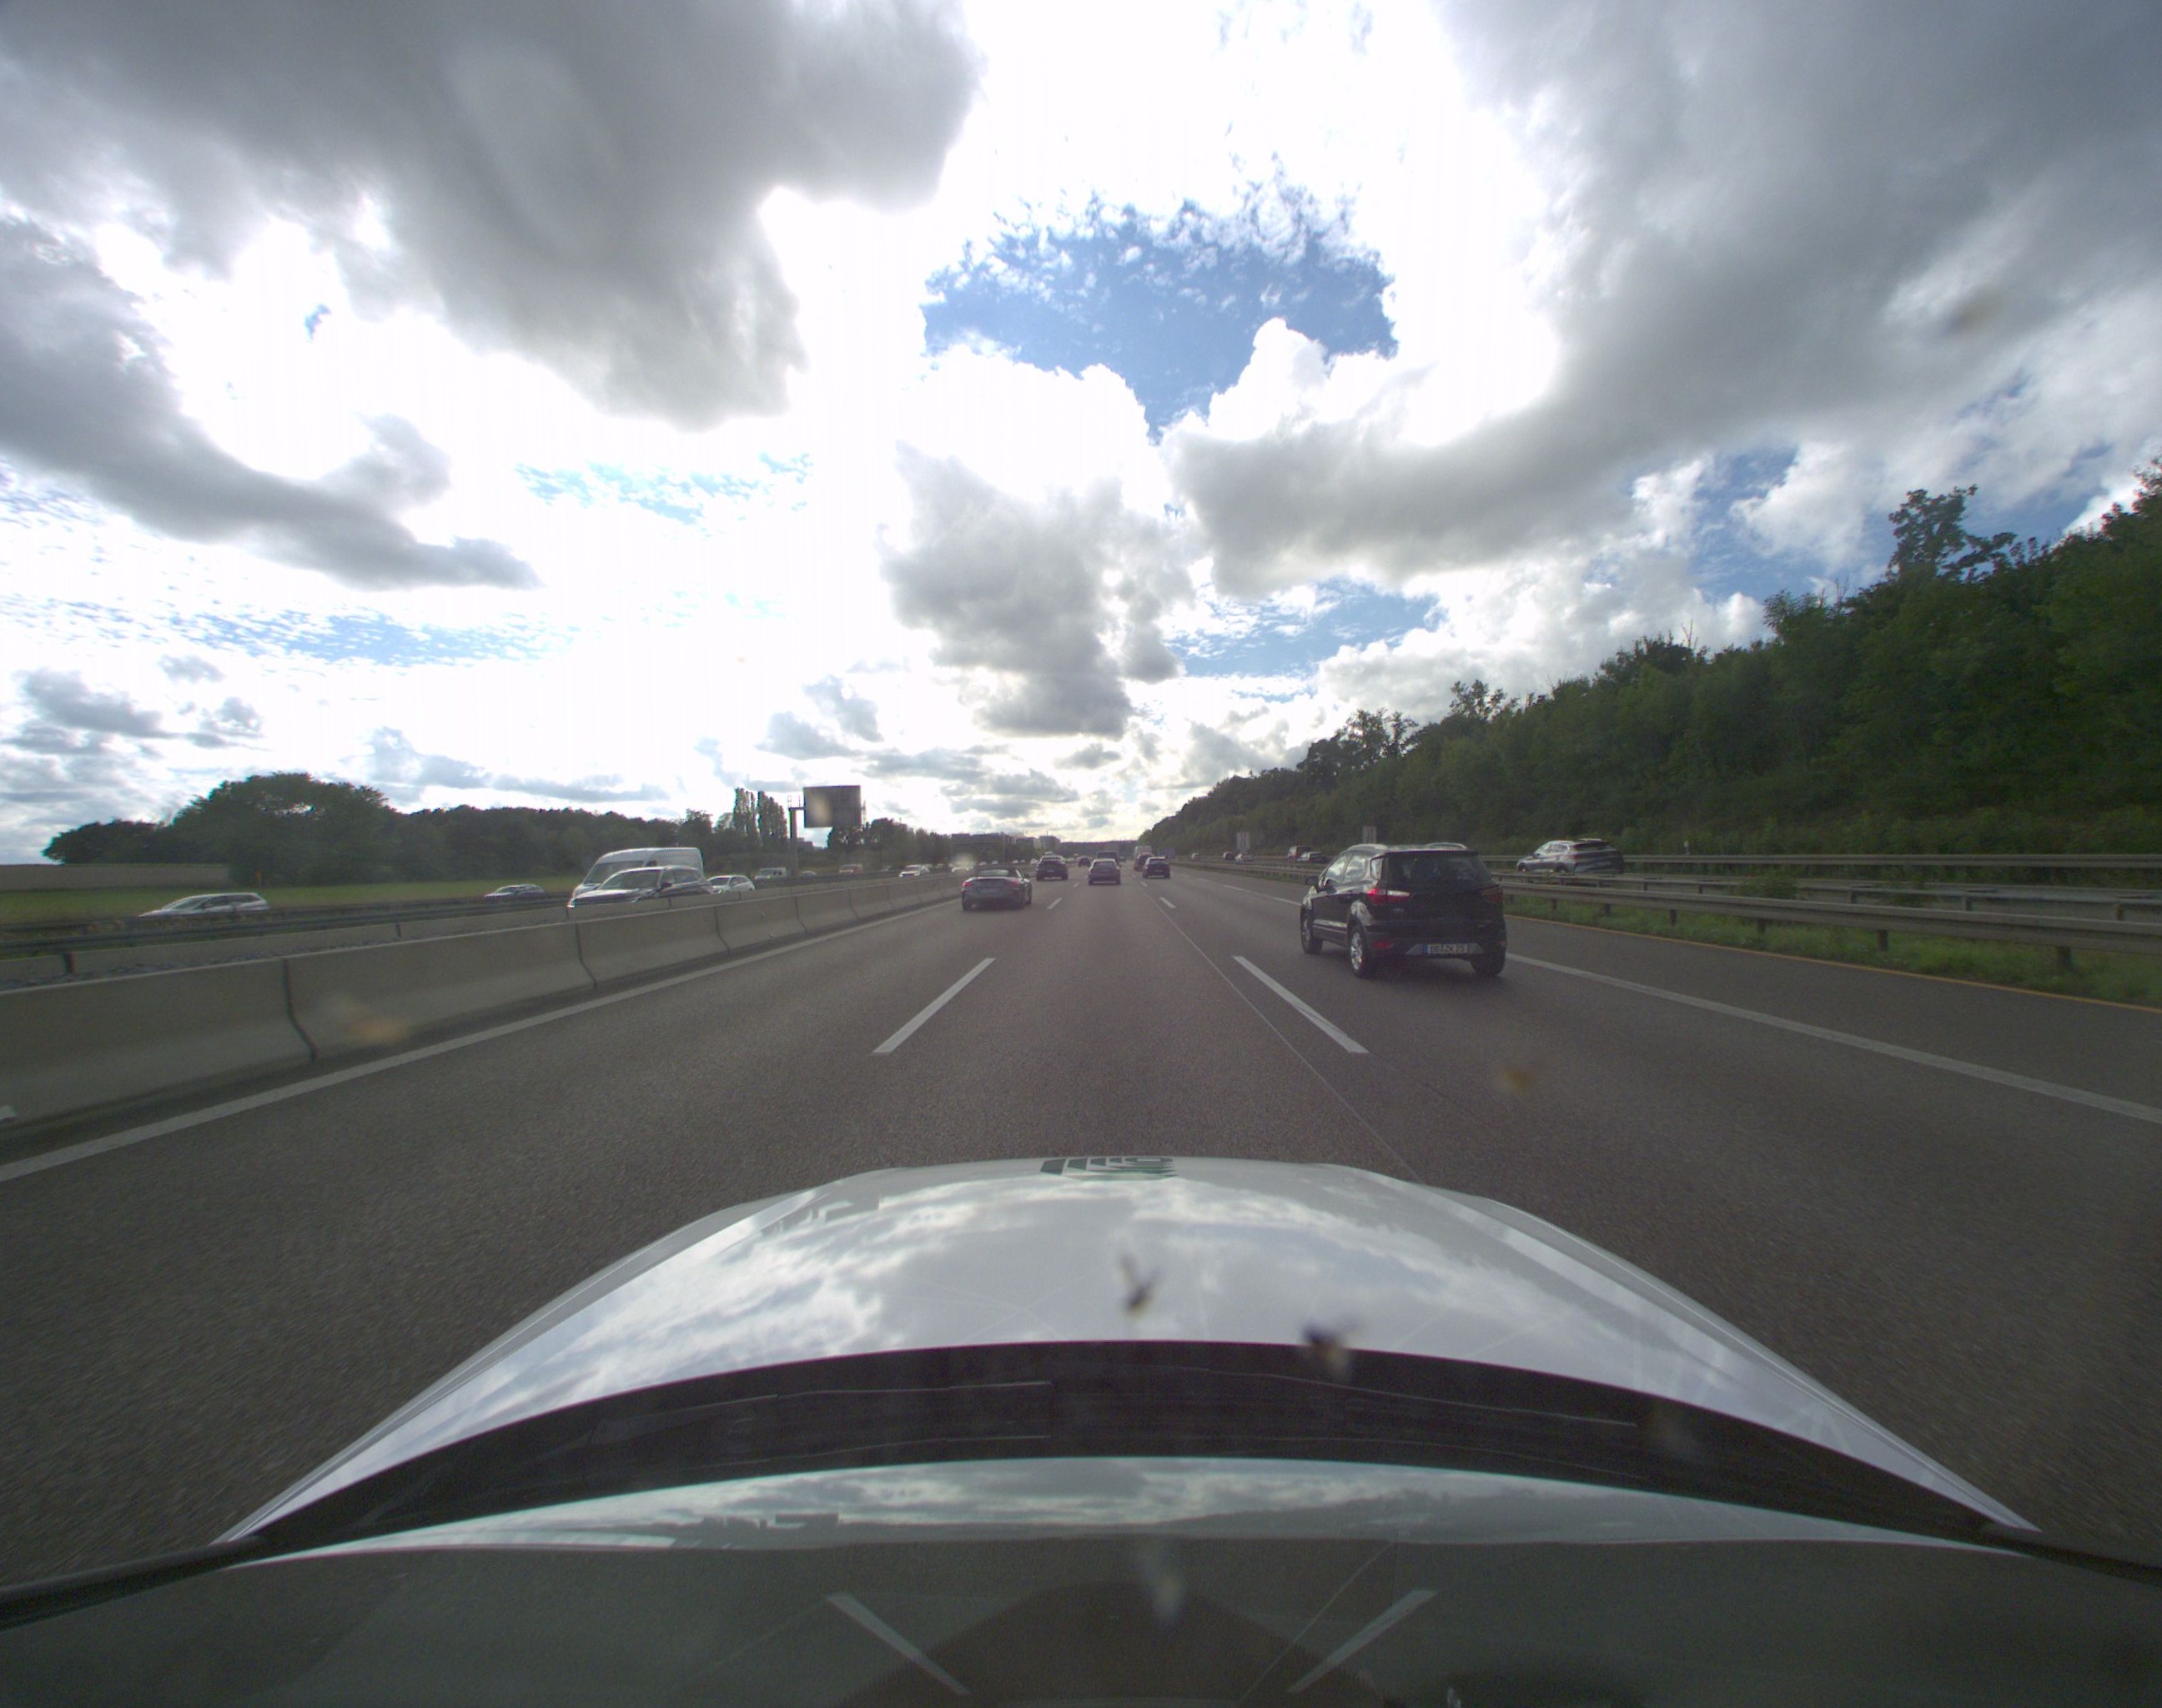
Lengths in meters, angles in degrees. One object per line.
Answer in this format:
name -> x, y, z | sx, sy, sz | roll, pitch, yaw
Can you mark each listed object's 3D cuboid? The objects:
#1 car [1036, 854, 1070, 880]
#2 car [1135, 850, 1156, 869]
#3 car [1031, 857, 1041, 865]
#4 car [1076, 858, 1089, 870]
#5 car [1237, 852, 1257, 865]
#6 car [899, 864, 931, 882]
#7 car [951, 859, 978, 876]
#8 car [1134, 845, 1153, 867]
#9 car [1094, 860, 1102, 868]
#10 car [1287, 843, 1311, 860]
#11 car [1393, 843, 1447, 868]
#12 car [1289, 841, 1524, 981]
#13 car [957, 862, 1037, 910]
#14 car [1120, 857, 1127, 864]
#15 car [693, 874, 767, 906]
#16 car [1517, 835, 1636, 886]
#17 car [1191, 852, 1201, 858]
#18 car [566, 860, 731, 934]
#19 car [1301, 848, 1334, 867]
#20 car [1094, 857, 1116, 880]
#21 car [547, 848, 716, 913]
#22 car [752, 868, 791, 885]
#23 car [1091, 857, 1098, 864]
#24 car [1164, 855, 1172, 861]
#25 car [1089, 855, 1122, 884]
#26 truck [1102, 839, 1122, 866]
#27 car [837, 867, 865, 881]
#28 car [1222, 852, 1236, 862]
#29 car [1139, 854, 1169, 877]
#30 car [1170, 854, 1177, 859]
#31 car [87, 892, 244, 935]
car -> -1.860, 0.846, 56.098 | 1.905, 1.636, 5.502 | -1, 0, 2
car -> 6.608, 0.531, 83.586 | 1.906, 1.919, 4.032 | -1, 0, 2
car -> -9.765, 1.551, 178.334 | 1.772, 1.645, 4.073 | -1, 0, 2
car -> 0.235, 1.518, 126.216 | 1.866, 1.698, 4.074 | -1, 0, 2
car -> 21.390, 0.563, 104.983 | 1.745, 1.695, 4.192 | -1, 0, 2
car -> -13.811, 1.557, 67.966 | 1.631, 1.403, 4.492 | -1, 0, 1
car -> -11.440, 1.309, 80.191 | 1.756, 1.532, 4.719 | -1, 0, 2
car -> 6.927, 0.186, 90.607 | 1.866, 2.357, 4.284 | -1, 0, 2
car -> 3.654, 2.102, 171.739 | 1.691, 1.611, 4.115 | -1, 0, 1
car -> 23.671, -0.235, 88.437 | 1.590, 1.804, 3.825 | -1, 0, 0
car -> 22.518, 0.095, 54.245 | 1.723, 1.546, 4.306 | -3, 0, 0
car -> 4.240, 0.659, 11.357 | 1.691, 1.564, 4.115 | -1, 0, 1
car -> -2.563, 0.947, 26.080 | 1.866, 1.302, 4.944 | -1, 0, 2
car -> 11.151, 1.667, 212.811 | 1.745, 1.695, 4.192 | -1, 0, 2
car -> -18.663, 1.877, 43.519 | 1.720, 1.529, 4.866 | -1, 0, 1
car -> 18.184, 0.206, 30.175 | 1.839, 1.650, 4.308 | -3, 0, 2
car -> 27.437, 0.263, 194.079 | 1.746, 1.517, 4.191 | -1, 0, 1
car -> -11.355, 1.050, 21.814 | 1.757, 1.731, 4.705 | 0, 0, 2
car -> 19.821, 0.269, 68.510 | 1.590, 1.546, 4.190 | -1, 0, 0
car -> 1.980, 1.163, 66.012 | 1.714, 1.724, 4.393 | -1, 0, 2
car -> -15.180, 0.815, 28.024 | 2.346, 1.967, 5.837 | -1, 0, 2
car -> -33.918, 2.434, 89.479 | 1.986, 1.700, 5.635 | -1, 0, 1
car -> 4.191, 1.981, 246.732 | 1.986, 1.816, 4.568 | -1, 0, 2
car -> 25.272, 1.153, 236.916 | 1.722, 1.533, 4.454 | -2, 0, 2
car -> 1.389, 0.840, 45.850 | 1.714, 1.479, 4.393 | -1, 0, 2
truck -> 5.256, -0.203, 137.270 | 3.250, 4.375, 11.031 | 0, 0, 2
car -> -30.024, 2.548, 106.502 | 1.986, 1.700, 5.137 | -1, 0, 1
car -> 25.494, 0.468, 139.963 | 1.745, 1.695, 4.192 | -1, 0, 2
car -> 5.052, 0.790, 56.556 | 1.825, 1.521, 4.227 | -1, 0, 2
car -> 29.485, 0.891, 259.939 | 1.745, 1.517, 4.192 | -1, 0, 2
car -> -39.612, 2.535, 35.424 | 1.722, 1.533, 4.453 | -1, 0, 1
